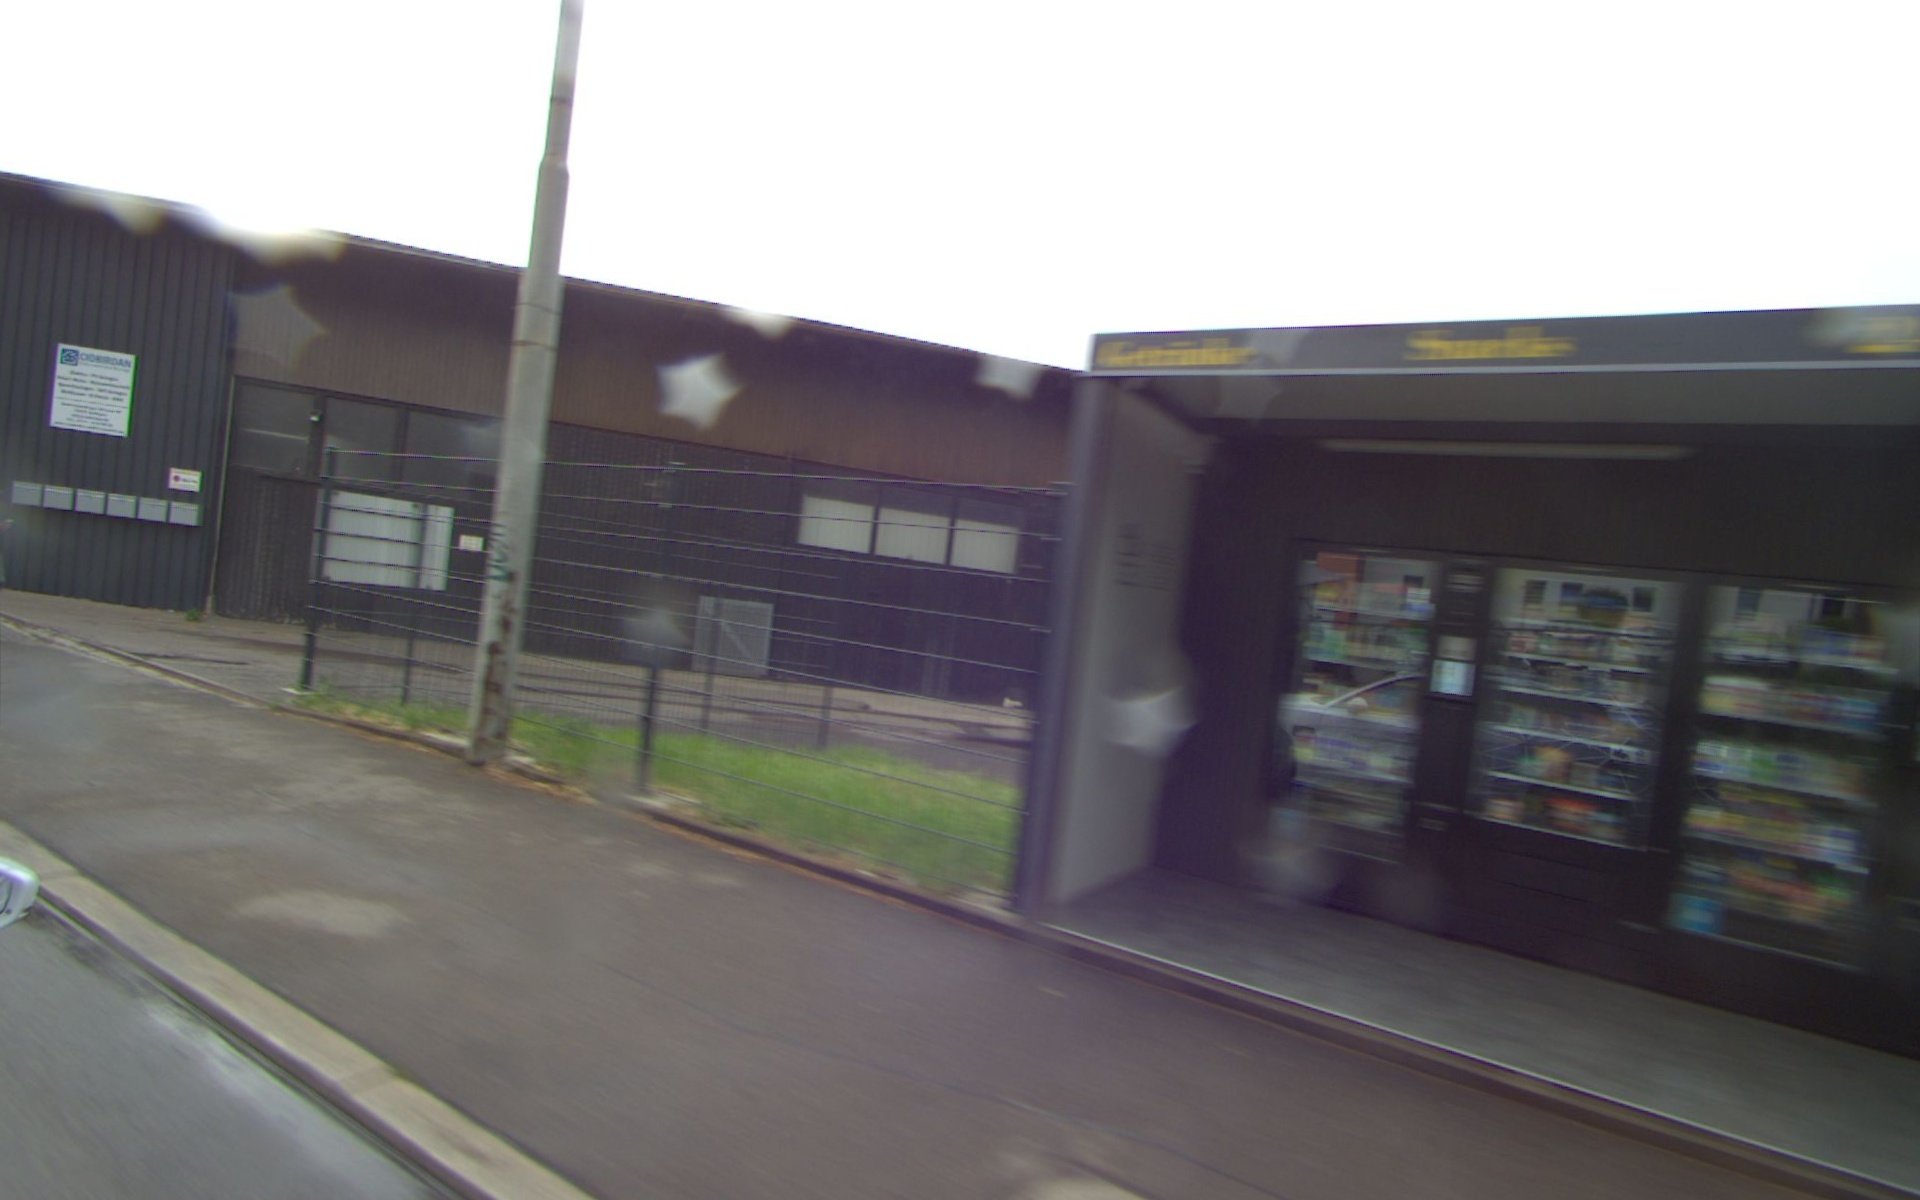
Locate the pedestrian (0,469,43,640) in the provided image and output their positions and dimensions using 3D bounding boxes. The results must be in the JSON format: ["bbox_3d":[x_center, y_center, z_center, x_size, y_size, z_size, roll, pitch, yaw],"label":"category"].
[{"bbox_3d":[-10.242,-0.510,10.367,0.886,1.724,0.744,6,-2,26],"label":"pedestrian"}]

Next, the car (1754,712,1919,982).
[{"bbox_3d":[7.662,1.789,7.649,1.764,1.549,4.387,6,-2,30],"label":"car"}]

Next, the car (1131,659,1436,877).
[{"bbox_3d":[3.287,1.489,9.638,1.756,1.439,3.994,5,-3,32],"label":"car"}]
